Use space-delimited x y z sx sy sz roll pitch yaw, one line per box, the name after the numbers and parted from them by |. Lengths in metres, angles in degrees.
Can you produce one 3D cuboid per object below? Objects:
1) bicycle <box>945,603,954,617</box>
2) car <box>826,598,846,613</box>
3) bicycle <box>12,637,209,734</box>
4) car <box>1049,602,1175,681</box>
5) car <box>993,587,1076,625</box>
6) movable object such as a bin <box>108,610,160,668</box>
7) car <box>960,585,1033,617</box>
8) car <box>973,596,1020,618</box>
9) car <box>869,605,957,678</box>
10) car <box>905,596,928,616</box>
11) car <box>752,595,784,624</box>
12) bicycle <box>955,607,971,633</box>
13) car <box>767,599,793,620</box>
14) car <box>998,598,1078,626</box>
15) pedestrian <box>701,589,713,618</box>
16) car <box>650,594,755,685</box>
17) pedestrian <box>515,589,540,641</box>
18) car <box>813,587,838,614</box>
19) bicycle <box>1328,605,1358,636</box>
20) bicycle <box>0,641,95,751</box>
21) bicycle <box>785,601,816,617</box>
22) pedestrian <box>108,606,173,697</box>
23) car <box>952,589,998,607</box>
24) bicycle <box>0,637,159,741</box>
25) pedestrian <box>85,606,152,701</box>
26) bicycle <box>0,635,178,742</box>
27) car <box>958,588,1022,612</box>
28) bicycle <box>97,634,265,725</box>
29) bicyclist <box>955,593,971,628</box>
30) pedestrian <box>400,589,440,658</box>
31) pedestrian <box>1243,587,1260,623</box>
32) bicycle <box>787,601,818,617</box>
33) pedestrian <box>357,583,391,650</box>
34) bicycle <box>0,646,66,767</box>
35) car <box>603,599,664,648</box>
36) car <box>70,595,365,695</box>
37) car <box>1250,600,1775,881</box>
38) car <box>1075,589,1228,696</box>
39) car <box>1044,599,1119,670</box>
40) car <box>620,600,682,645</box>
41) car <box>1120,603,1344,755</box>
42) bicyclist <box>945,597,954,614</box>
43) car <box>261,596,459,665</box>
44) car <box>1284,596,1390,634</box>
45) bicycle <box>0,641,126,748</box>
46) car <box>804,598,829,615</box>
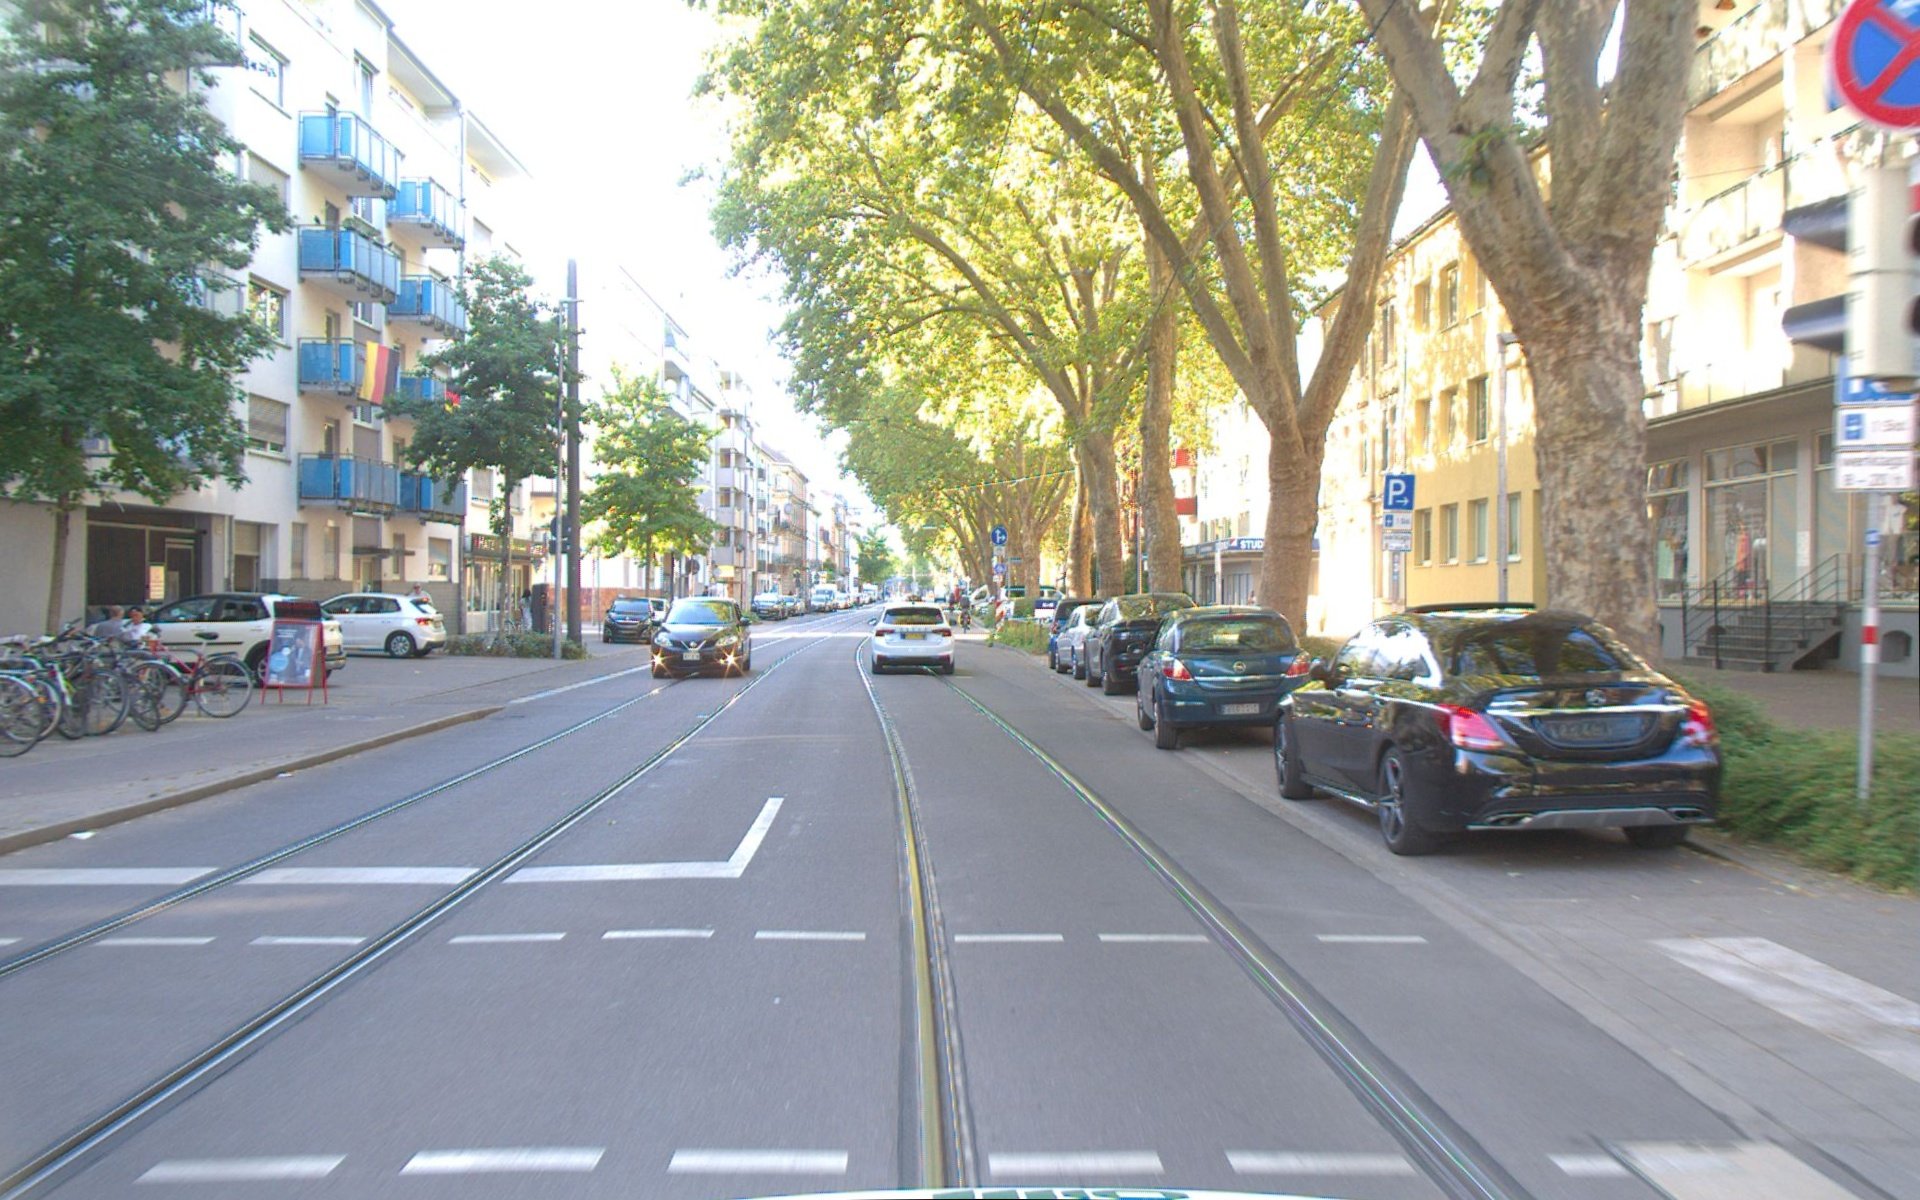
-0.826 0.787 131.673 0.636 1.089 1.582 0 0 -3 | bicycle
-13.553 0.592 181.239 1.953 1.557 3.999 0 0 -1 | car
-9.392 0.943 18.337 1.794 1.025 0.657 1 -1 -6 | bicycle
2.998 0.818 33.579 1.781 1.461 4.598 -1 -1 -5 | car
4.163 0.320 92.736 4.453 2.113 1.999 0 0 -4 | car
-15.631 0.740 31.325 0.664 1.074 0.622 0 0 0 | movable object such as a bin
3.070 0.046 139.706 6.008 2.681 2.528 0 0 -3 | car
2.807 0.514 127.445 3.559 1.695 1.822 0 0 1 | car
-1.000 0.826 34.632 1.726 1.408 3.998 0 0 -2 | car
-3.394 0.467 129.116 1.726 1.501 3.999 0 0 -1 | car
-12.076 0.594 104.185 1.668 1.679 4.239 2 0 -3 | car
0.126 0.830 69.233 0.667 1.089 1.780 0 0 -1 | bicycle
-13.039 0.665 120.046 1.620 1.462 3.834 0 0 -3 | car
4.226 0.650 90.158 4.211 1.505 1.830 0 0 -2 | car
-16.032 0.216 104.998 0.650 1.858 0.965 0 0 -3 | pedestrian
-5.039 0.726 32.812 1.835 1.617 4.141 3 0 -7 | car
-14.472 0.501 55.388 0.650 1.720 0.748 0 0 -3 | pedestrian
-13.091 0.060 160.922 2.134 2.642 4.947 0 0 -1 | car
14.275 0.746 61.680 0.571 1.123 1.922 -2 0 -2 | bicycle
-9.509 0.917 16.098 1.794 1.025 0.657 1 -1 -6 | bicycle
-13.205 0.748 137.159 2.510 1.193 0.870 3 -2 -41 | bicycle
-12.310 0.760 24.876 0.700 1.320 0.908 0 0 -15 | pedestrian
1.968 -0.227 218.531 6.008 2.322 2.528 0 0 -3 | car
-9.411 0.917 17.200 1.794 1.025 0.657 1 -1 -6 | bicycle
-12.020 0.755 23.643 0.700 1.320 0.744 0 0 -15 | pedestrian
-9.356 0.929 17.521 1.794 1.082 0.657 1 -1 -6 | bicycle
2.834 -0.021 158.322 6.008 2.322 2.528 0 0 -3 | car
-9.249 0.939 19.690 1.658 1.025 0.657 1 -1 -6 | bicycle
0.130 0.426 69.167 0.664 1.468 1.047 0 0 -1 | bicyclist
-13.490 0.581 41.336 0.748 1.720 0.794 0 0 -3 | pedestrian
13.805 0.245 78.348 0.731 1.673 0.666 0 0 0 | pedestrian
-13.161 0.752 138.043 2.477 1.193 0.718 2 -2 -8 | bicycle
-15.309 0.432 43.238 0.650 1.720 0.748 0 0 -3 | pedestrian
-8.942 0.924 14.641 1.658 1.025 0.657 1 -1 -6 | bicycle
-10.838 0.764 55.095 1.681 1.489 3.993 3 -1 -8 | car
-12.026 0.720 26.978 3.931 1.501 1.851 1 -1 -1 | car
3.396 0.748 11.337 1.729 1.488 5.009 0 0 -3 | car
3.158 0.698 28.231 1.821 1.631 4.779 -1 -1 -3 | car
2.776 0.776 38.112 1.531 1.545 2.910 -1 -1 1 | car
-11.143 0.787 59.874 1.680 1.489 4.372 3 -1 -5 | car
2.925 0.795 18.661 1.826 1.462 4.226 -1 0 0 | car
-0.834 0.443 131.686 0.636 1.367 0.934 0 0 -3 | bicyclist
-13.897 0.697 38.500 3.933 1.501 1.850 1 -1 -4 | car
16.252 0.641 71.329 4.052 1.621 1.997 0 0 -6 | car
-9.430 0.930 16.553 1.794 1.025 0.657 1 -1 -6 | bicycle
-12.923 0.566 149.199 1.953 1.557 3.999 0 0 -1 | car
